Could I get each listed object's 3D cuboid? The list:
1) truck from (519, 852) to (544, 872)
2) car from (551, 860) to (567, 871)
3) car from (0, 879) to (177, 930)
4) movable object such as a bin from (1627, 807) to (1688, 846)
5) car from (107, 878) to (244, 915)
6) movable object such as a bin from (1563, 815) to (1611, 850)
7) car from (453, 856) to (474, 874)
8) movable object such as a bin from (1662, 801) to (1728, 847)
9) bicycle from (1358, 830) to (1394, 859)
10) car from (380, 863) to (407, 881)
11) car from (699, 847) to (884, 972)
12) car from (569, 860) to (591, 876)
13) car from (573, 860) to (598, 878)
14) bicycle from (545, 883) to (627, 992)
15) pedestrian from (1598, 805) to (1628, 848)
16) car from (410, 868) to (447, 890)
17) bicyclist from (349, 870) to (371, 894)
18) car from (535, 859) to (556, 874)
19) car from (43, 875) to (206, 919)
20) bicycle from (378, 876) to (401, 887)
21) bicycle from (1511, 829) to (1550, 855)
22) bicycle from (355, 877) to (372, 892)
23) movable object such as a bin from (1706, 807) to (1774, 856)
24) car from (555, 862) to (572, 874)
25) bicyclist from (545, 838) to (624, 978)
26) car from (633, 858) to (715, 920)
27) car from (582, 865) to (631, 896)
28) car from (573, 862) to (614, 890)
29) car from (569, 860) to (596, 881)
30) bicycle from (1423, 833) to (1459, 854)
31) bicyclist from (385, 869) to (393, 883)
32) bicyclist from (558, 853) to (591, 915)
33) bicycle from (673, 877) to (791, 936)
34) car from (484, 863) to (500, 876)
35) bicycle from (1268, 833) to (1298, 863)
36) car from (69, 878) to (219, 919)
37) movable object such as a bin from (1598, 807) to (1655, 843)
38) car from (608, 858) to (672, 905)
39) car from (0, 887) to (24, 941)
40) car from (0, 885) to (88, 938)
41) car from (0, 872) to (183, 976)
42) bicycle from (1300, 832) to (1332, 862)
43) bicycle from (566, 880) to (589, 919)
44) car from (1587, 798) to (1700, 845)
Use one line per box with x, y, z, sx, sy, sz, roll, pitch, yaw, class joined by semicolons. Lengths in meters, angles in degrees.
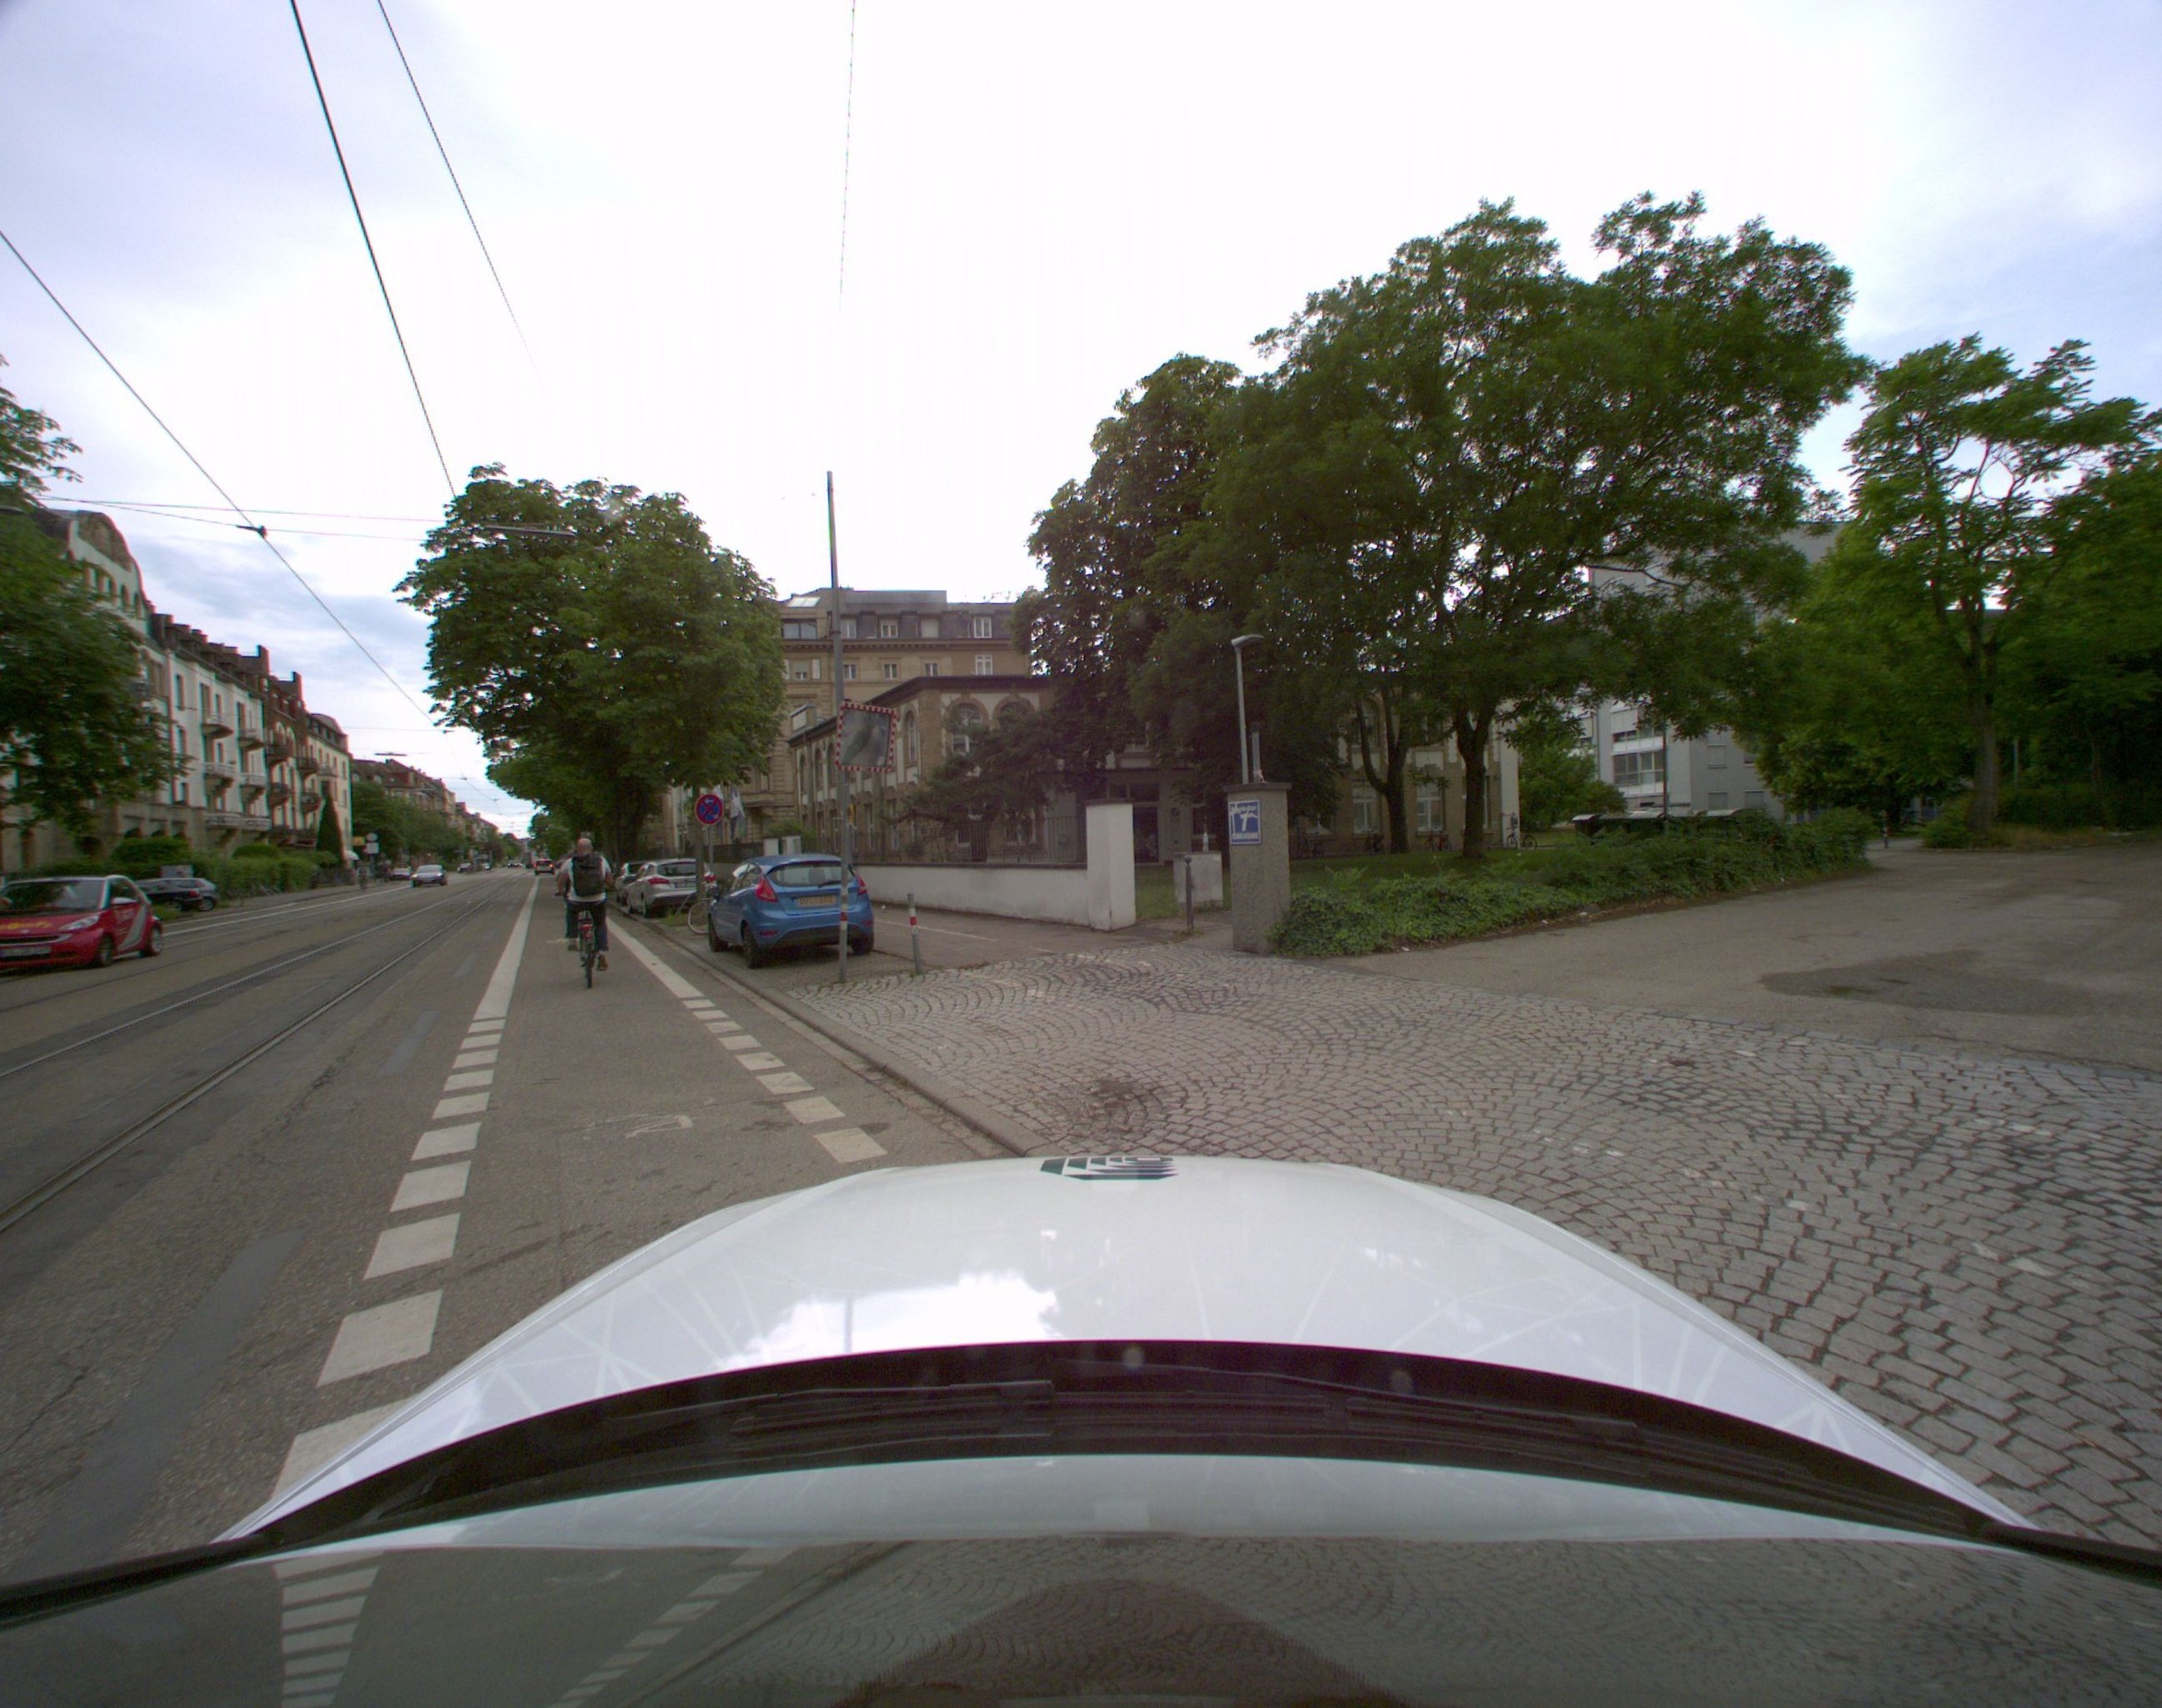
-117.689;1.648;174.373;3.838;4.029;10.104;-3;1;-37;truck
-72.226;1.592;112.728;1.782;1.399;3.757;-3;1;-31;car
-32.356;1.565;26.254;1.683;1.351;3.981;-1;0;11;car
19.951;-0.937;28.226;1.053;1.264;1.348;-3;1;-12;movable object such as a bin
-39.389;1.811;35.495;1.678;1.386;3.743;-1;0;32;car
19.343;-0.816;31.184;1.047;1.264;1.356;-2;1;6;movable object such as a bin
-85.368;1.520;112.630;2.223;2.417;3.955;-3;1;-37;car
20.136;-0.973;26.722;1.053;1.456;1.348;-2;1;-12;movable object such as a bin
11.957;-0.390;33.110;0.615;1.119;2.221;-3;1;0;bicycle
-94.400;2.456;111.864;2.193;2.207;4.175;-3;1;-33;car
-4.368;0.702;12.007;1.686;1.460;3.396;-4;2;-34;car
-48.448;1.342;78.772;1.782;1.399;3.757;-3;1;-31;car
-42.220;1.246;69.348;1.710;1.359;3.757;-3;1;-31;car
-5.988;0.952;9.937;0.667;1.117;1.850;-1;0;-26;bicycle
23.485;-1.202;35.961;0.754;1.809;0.696;-3;-1;-11;pedestrian
-45.779;1.728;57.207;1.754;1.428;3.957;-3;1;-35;car
-45.640;1.761;51.546;0.849;1.500;1.017;-3;1;-33;bicyclist
-61.439;1.428;93.522;1.824;1.708;3.662;-2;0;-31;car
-35.712;1.555;30.508;1.678;1.386;3.743;-1;0;32;car
-59.958;2.384;70.641;1.458;0.800;0.430;-3;1;-41;bicycle
18.720;-0.506;33.931;0.394;1.065;1.823;-2;1;-8;bicycle
-45.631;1.926;51.782;0.472;0.868;2.116;-3;1;-33;bicycle
20.349;-0.721;25.193;1.048;1.449;1.356;-2;3;2;movable object such as a bin
-91.722;2.524;144.275;2.011;2.013;3.953;-2;0;-40;car
-5.908;0.604;9.730;0.665;1.569;0.977;-2;0;-26;bicyclist
-10.915;0.865;21.741;1.486;1.481;3.527;-2;1;-34;car
-22.898;1.232;39.261;1.886;1.251;3.960;-3;1;-31;car
-27.254;1.213;45.532;1.803;1.399;3.757;-3;1;-31;car
-37.746;1.221;61.711;1.678;1.399;3.624;-3;1;-31;car
14.802;-0.456;33.531;0.615;0.813;1.944;-3;1;0;bicycle
-60.020;1.911;70.629;0.516;1.168;0.433;-3;1;-41;bicyclist
-13.697;0.800;22.027;0.662;1.610;0.910;-3;1;-32;bicyclist
-6.781;0.990;15.891;2.028;0.957;0.528;-3;1;-38;bicycle
-108.419;2.829;149.931;2.221;2.255;3.958;-3;1;-34;car
8.098;-0.253;32.699;0.615;1.119;2.221;-3;1;0;bicycle
-37.700;1.756;32.861;1.678;1.386;3.743;-1;0;32;car
19.888;-1.045;29.730;1.054;1.264;1.347;-3;1;-15;movable object such as a bin
-14.995;0.888;27.615;1.486;1.428;3.527;-3;1;-34;car
-28.333;1.552;19.087;1.683;1.351;3.981;-1;0;11;car
-29.921;1.604;21.723;1.683;1.351;3.981;-1;0;11;car
-16.870;1.097;13.690;1.688;1.522;2.753;-2;0;-33;car
9.439;-0.301;32.766;0.615;1.119;2.221;-3;1;0;bicycle
-13.747;1.213;22.232;0.493;0.979;2.036;-2;-1;-32;bicycle
26.477;-1.529;38.391;4.339;2.013;1.847;-2;0;-11;car
